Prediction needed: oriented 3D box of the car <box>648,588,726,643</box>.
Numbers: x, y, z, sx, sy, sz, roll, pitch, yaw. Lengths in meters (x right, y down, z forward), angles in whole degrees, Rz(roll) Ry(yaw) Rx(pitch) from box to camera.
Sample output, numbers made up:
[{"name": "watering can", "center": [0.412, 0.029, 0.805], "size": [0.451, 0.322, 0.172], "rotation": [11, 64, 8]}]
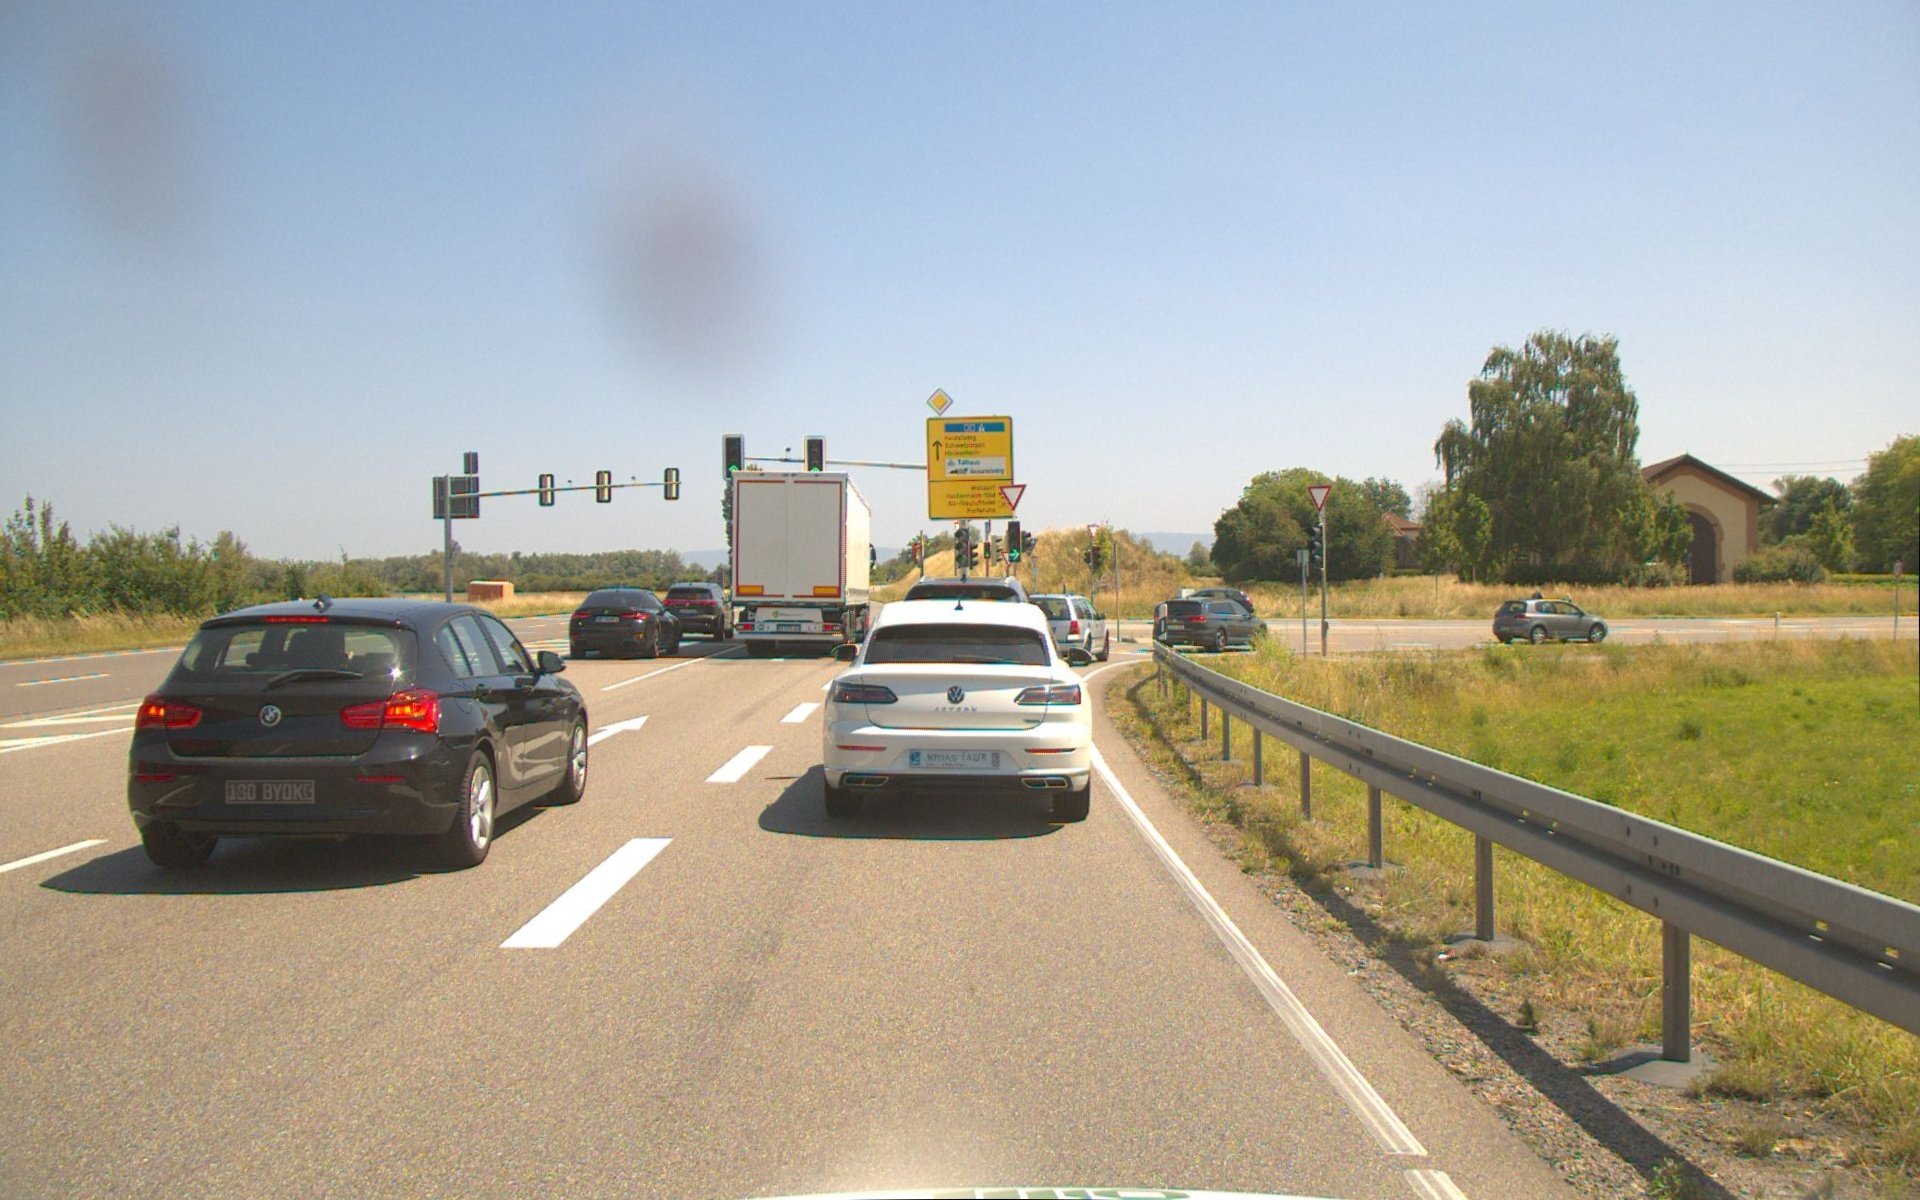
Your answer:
[{"name": "car", "center": [-7.980, 0.441, 48.589], "size": [1.773, 1.519, 4.019], "rotation": [1, 0, -3]}]

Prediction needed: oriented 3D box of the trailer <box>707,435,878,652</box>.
[{"name": "trailer", "center": [-3.911, -1.244, 41.877], "size": [3.313, 4.622, 12.867], "rotation": [1, 0, -2]}]

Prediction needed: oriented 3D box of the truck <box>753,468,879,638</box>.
[{"name": "truck", "center": [-4.108, -1.304, 48.591], "size": [3.313, 4.622, 6.369], "rotation": [1, 0, -2]}]

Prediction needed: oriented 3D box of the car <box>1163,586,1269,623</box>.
[{"name": "car", "center": [10.645, 0.196, 68.965], "size": [4.171, 1.392, 1.777], "rotation": [-1, 1, 2]}]

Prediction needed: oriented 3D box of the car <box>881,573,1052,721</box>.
[{"name": "car", "center": [0.195, 0.525, 20.675], "size": [1.894, 1.644, 4.380], "rotation": [0, 0, 3]}]

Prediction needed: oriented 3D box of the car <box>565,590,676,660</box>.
[{"name": "car", "center": [-7.380, 0.514, 36.335], "size": [1.773, 1.423, 4.019], "rotation": [1, 0, -3]}]

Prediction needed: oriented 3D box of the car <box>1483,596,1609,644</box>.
[{"name": "car", "center": [19.567, 0.646, 55.238], "size": [3.817, 1.548, 1.793], "rotation": [0, 0, -23]}]

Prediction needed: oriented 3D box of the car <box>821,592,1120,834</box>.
[{"name": "car", "center": [0.031, 0.689, 12.331], "size": [1.810, 1.458, 4.607], "rotation": [0, 0, -1]}]

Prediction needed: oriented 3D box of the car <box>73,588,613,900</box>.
[{"name": "car", "center": [-3.407, 0.677, 10.107], "size": [1.748, 1.455, 4.379], "rotation": [1, 1, -2]}]

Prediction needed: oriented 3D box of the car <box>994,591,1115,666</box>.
[{"name": "car", "center": [2.031, 0.553, 34.436], "size": [1.761, 1.454, 4.096], "rotation": [0, 0, 14]}]

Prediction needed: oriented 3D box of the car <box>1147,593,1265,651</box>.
[{"name": "car", "center": [6.835, 0.586, 45.596], "size": [1.766, 1.502, 4.406], "rotation": [0, 0, 29]}]
